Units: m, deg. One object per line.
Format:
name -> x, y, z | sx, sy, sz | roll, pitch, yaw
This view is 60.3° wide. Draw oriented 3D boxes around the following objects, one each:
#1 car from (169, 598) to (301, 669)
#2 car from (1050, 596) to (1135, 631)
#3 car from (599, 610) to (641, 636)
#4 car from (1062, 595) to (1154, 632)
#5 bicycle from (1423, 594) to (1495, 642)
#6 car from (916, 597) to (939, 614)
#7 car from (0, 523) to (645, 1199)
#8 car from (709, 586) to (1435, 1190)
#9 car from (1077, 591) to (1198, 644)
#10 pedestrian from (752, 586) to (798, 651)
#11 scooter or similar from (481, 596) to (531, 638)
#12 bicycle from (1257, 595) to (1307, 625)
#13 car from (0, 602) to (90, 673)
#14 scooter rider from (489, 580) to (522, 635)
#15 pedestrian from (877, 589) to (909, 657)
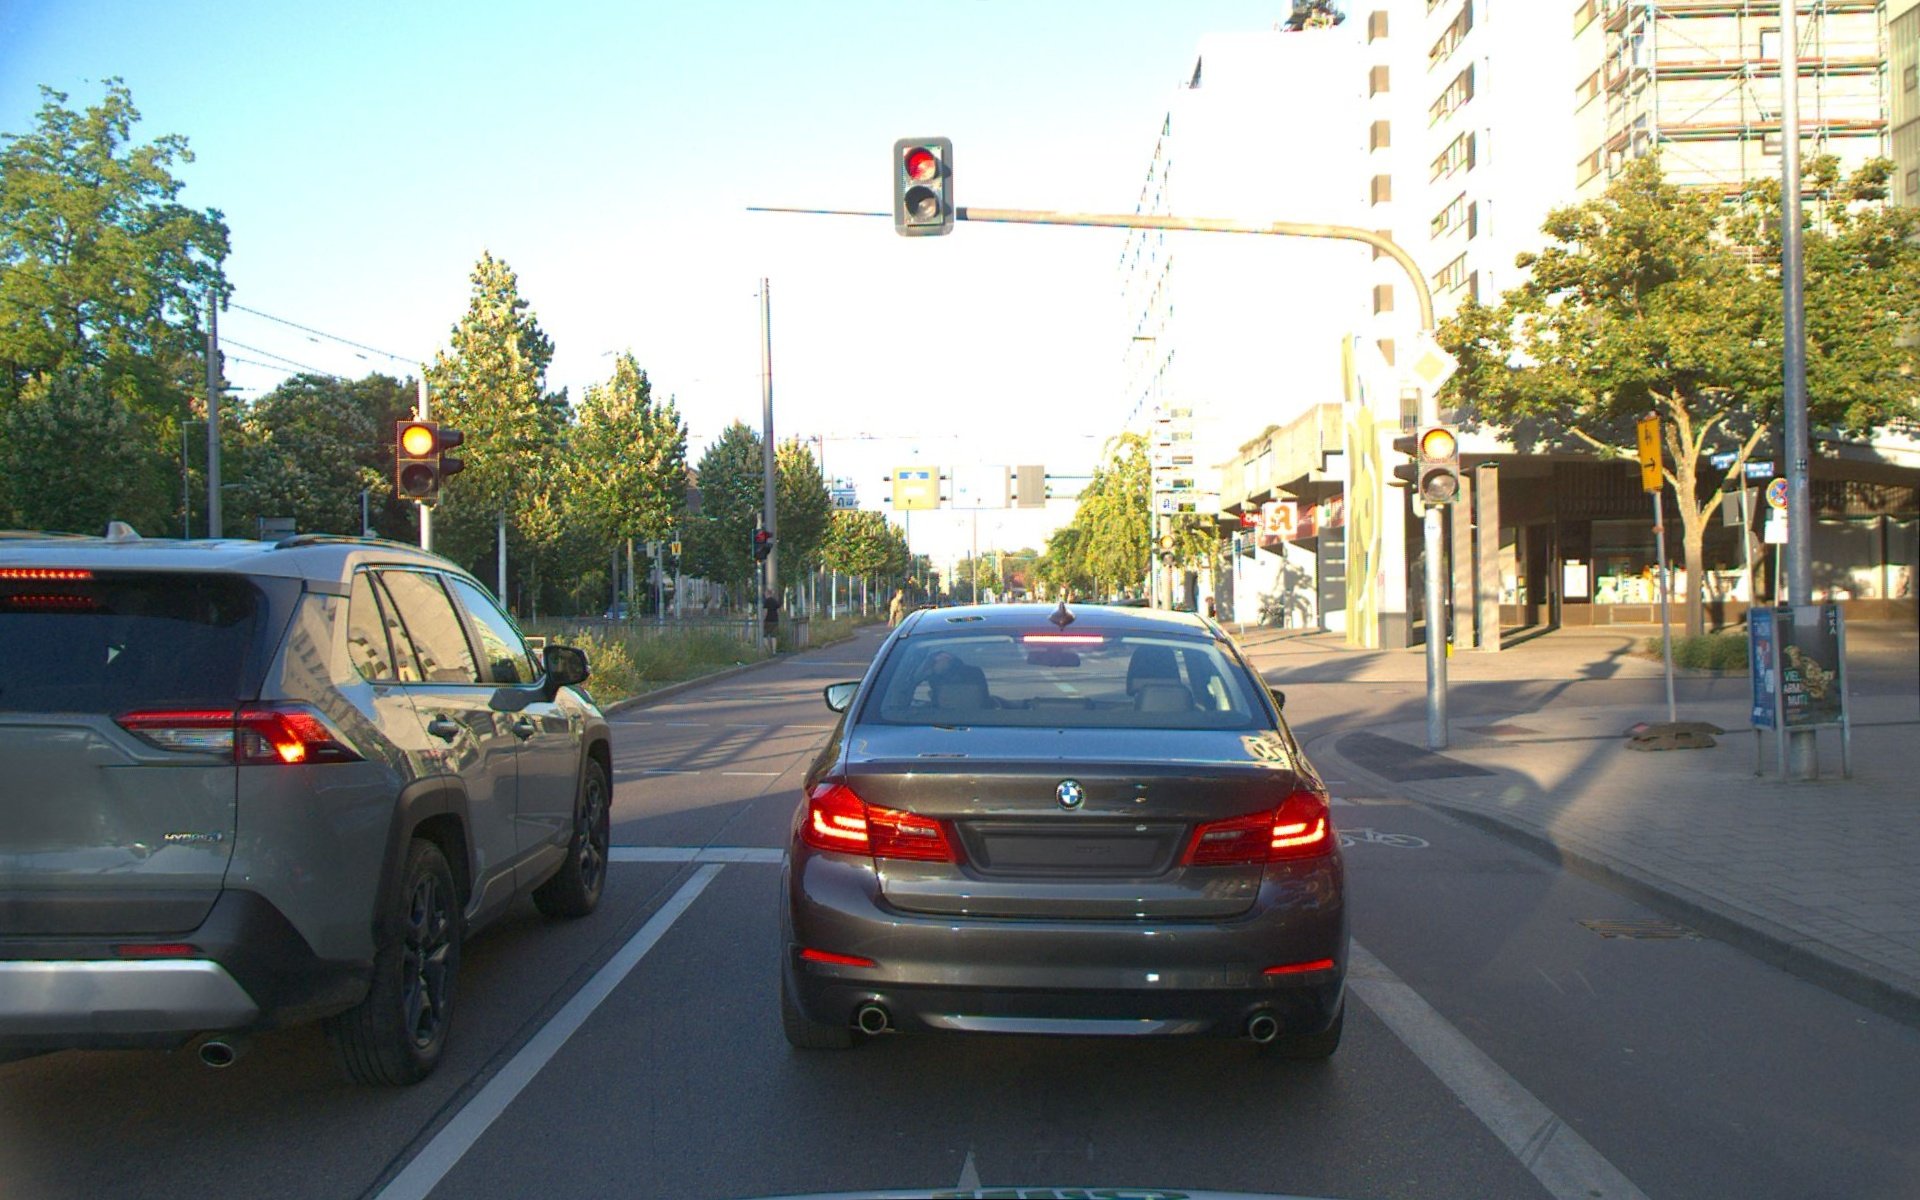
car -> -24.525, 1.084, 56.173 | 1.951, 2.206, 4.755 | 0, 1, 7
car -> 6.843, 0.659, 85.243 | 4.219, 1.687, 1.838 | 0, 1, -36
car -> -20.896, 1.384, 101.799 | 1.763, 1.507, 3.783 | -1, 0, 0
car -> 7.100, 0.629, 79.197 | 4.221, 1.687, 1.837 | 0, 1, -36
bicycle -> 12.498, 0.446, 41.519 | 0.678, 1.169, 2.012 | 2, -1, -18
car -> -2.839, 0.476, 146.888 | 1.938, 1.458, 4.843 | 0, 1, 0
car -> -2.476, 0.610, 6.188 | 1.817, 1.687, 4.268 | 0, 1, -1
car -> 0.373, 0.733, 6.597 | 1.892, 1.507, 4.524 | 0, 1, 2
car -> 6.114, 0.564, 56.611 | 4.234, 1.687, 1.831 | -1, 1, -43
pedestrian -> -4.685, 0.459, 41.884 | 0.804, 1.614, 0.825 | -1, 0, -40
scooter or similar -> -13.087, 0.498, 47.643 | 1.312, 1.173, 0.509 | -1, 0, -25
bicycle -> 13.460, 0.434, 69.160 | 1.974, 1.169, 0.691 | 2, -1, 6
car -> -22.621, 0.855, 38.793 | 1.952, 1.507, 4.523 | 0, 1, 1
scooter rider -> -13.098, 0.216, 47.675 | 0.810, 1.540, 0.648 | -1, 0, -25
pedestrian -> -1.757, 0.594, 43.447 | 0.818, 1.742, 0.647 | -1, 0, -2
